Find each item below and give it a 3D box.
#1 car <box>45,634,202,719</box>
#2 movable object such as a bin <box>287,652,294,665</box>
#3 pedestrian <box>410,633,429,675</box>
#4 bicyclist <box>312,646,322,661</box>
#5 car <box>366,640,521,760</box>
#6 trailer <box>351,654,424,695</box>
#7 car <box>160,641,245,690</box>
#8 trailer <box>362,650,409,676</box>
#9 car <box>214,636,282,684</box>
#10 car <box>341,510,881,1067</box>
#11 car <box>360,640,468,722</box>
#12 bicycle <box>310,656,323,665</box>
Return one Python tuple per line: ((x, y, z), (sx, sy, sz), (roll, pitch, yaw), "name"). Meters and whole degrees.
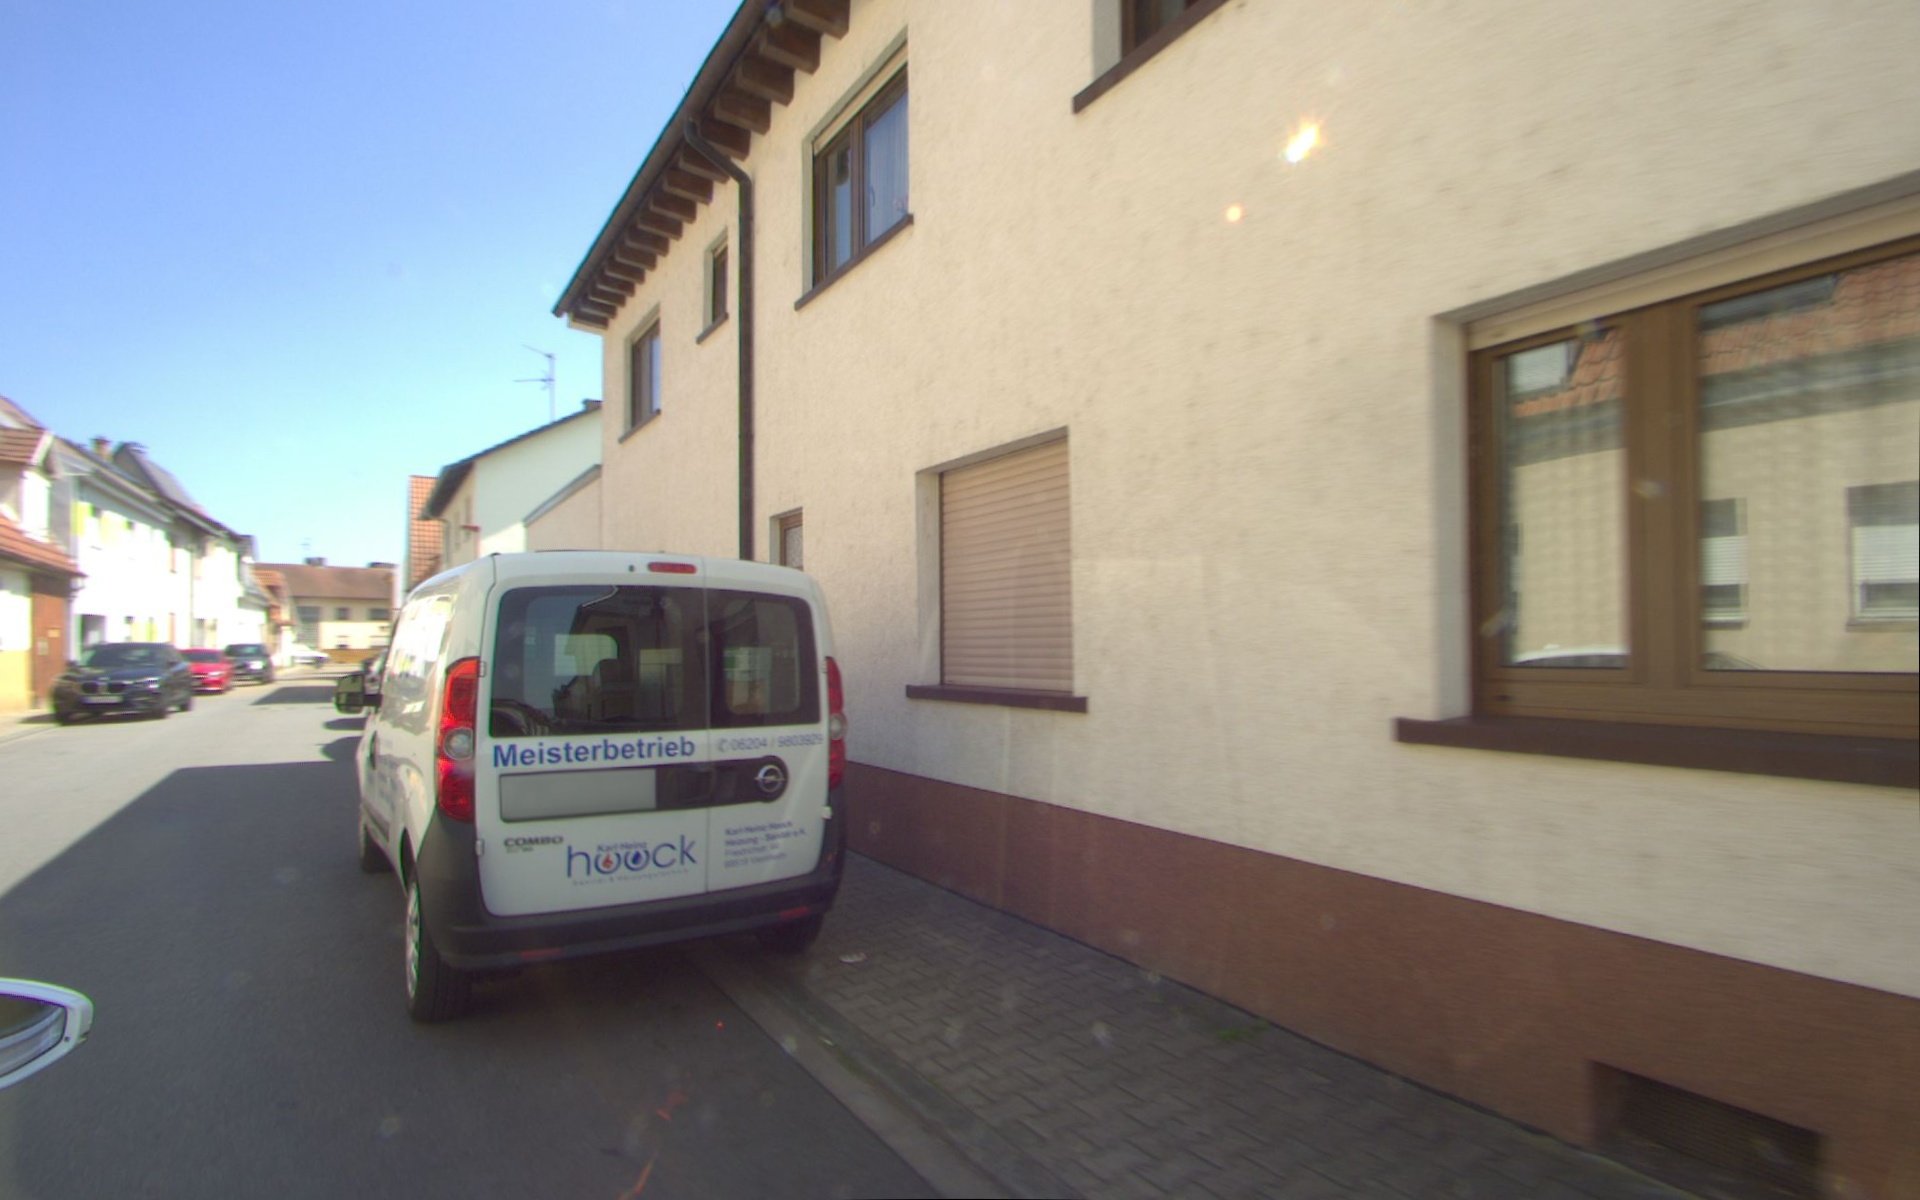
((-17.781, 1.578, 21.524), (1.780, 1.593, 4.593), (0, -3, -30), "car")
((-50.206, 4.403, 75.097), (0.444, 0.932, 0.402), (0, -2, -33), "movable object such as a bin")
((-21.131, 2.114, 39.147), (0.589, 1.582, 0.554), (1, -5, -33), "pedestrian")
((-43.448, 3.593, 67.644), (0.347, 0.972, 0.459), (-1, 1, 37), "bicyclist")
((-8.192, 1.437, 15.646), (1.771, 1.500, 4.908), (-1, -2, -32), "car")
((-17.216, 2.197, 30.141), (1.797, 1.104, 3.464), (1, -3, -30), "trailer")
((-24.347, 2.083, 32.326), (1.781, 1.459, 4.463), (0, -3, -32), "car")
((-24.814, 2.712, 43.227), (1.681, 1.046, 3.464), (1, -3, -31), "trailer")
((-27.761, 2.319, 39.149), (1.780, 1.725, 4.465), (-1, -2, -31), "car")
((-2.434, 0.770, 5.861), (1.793, 1.847, 4.822), (3, -4, -34), "car")
((-11.058, 1.567, 20.146), (1.632, 1.454, 4.111), (0, -3, -33), "car")
((-43.446, 4.063, 67.642), (0.927, 0.574, 0.440), (-2, -2, 36), "bicycle")
